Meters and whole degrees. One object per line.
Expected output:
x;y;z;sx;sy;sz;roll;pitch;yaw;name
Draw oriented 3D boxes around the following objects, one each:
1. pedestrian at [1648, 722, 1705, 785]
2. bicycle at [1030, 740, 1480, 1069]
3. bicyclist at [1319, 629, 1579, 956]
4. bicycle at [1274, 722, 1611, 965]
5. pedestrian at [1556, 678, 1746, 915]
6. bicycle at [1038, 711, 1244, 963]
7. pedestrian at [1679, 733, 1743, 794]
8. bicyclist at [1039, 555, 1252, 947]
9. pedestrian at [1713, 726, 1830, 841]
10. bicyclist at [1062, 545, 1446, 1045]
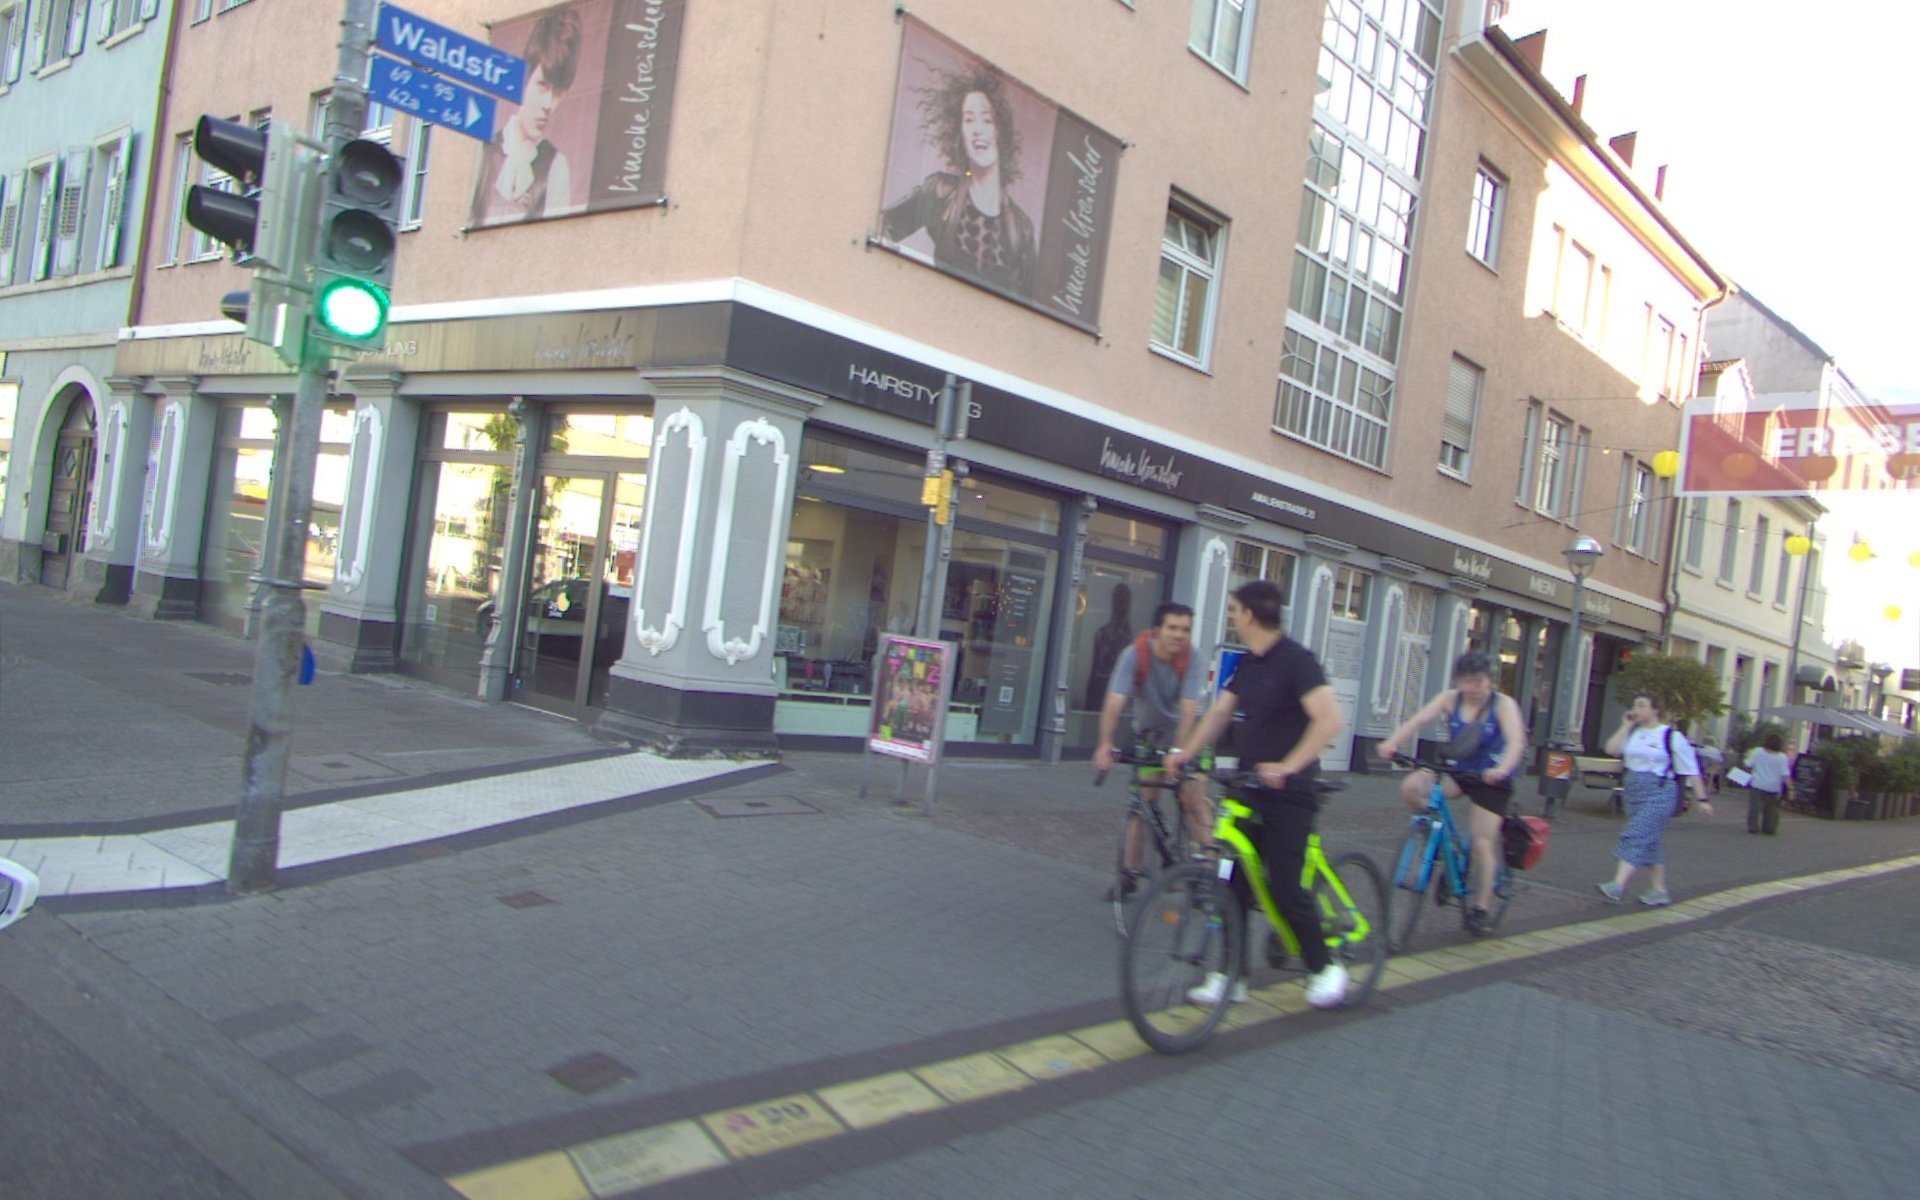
16.603;3.539;23.334;0.759;1.265;0.819;7;0;20;pedestrian
1.269;1.161;4.140;1.895;1.032;0.556;7;0;-31;bicycle
2.738;1.042;5.644;1.020;1.602;0.720;8;0;-32;bicyclist
2.821;1.377;5.824;1.900;1.109;0.728;8;-1;-30;bicycle
5.435;1.527;7.942;0.805;1.678;0.762;8;-1;-22;pedestrian
1.050;1.162;5.434;0.554;1.005;1.821;7;-1;25;bicycle
16.925;3.668;22.658;1.120;1.206;0.810;8;0;-40;pedestrian
1.036;0.742;5.385;0.739;1.782;1.142;7;0;20;bicyclist
12.240;2.745;15.173;1.076;1.497;1.099;8;-2;-41;pedestrian
1.167;0.713;4.004;1.120;1.705;0.720;8;0;-31;bicyclist
